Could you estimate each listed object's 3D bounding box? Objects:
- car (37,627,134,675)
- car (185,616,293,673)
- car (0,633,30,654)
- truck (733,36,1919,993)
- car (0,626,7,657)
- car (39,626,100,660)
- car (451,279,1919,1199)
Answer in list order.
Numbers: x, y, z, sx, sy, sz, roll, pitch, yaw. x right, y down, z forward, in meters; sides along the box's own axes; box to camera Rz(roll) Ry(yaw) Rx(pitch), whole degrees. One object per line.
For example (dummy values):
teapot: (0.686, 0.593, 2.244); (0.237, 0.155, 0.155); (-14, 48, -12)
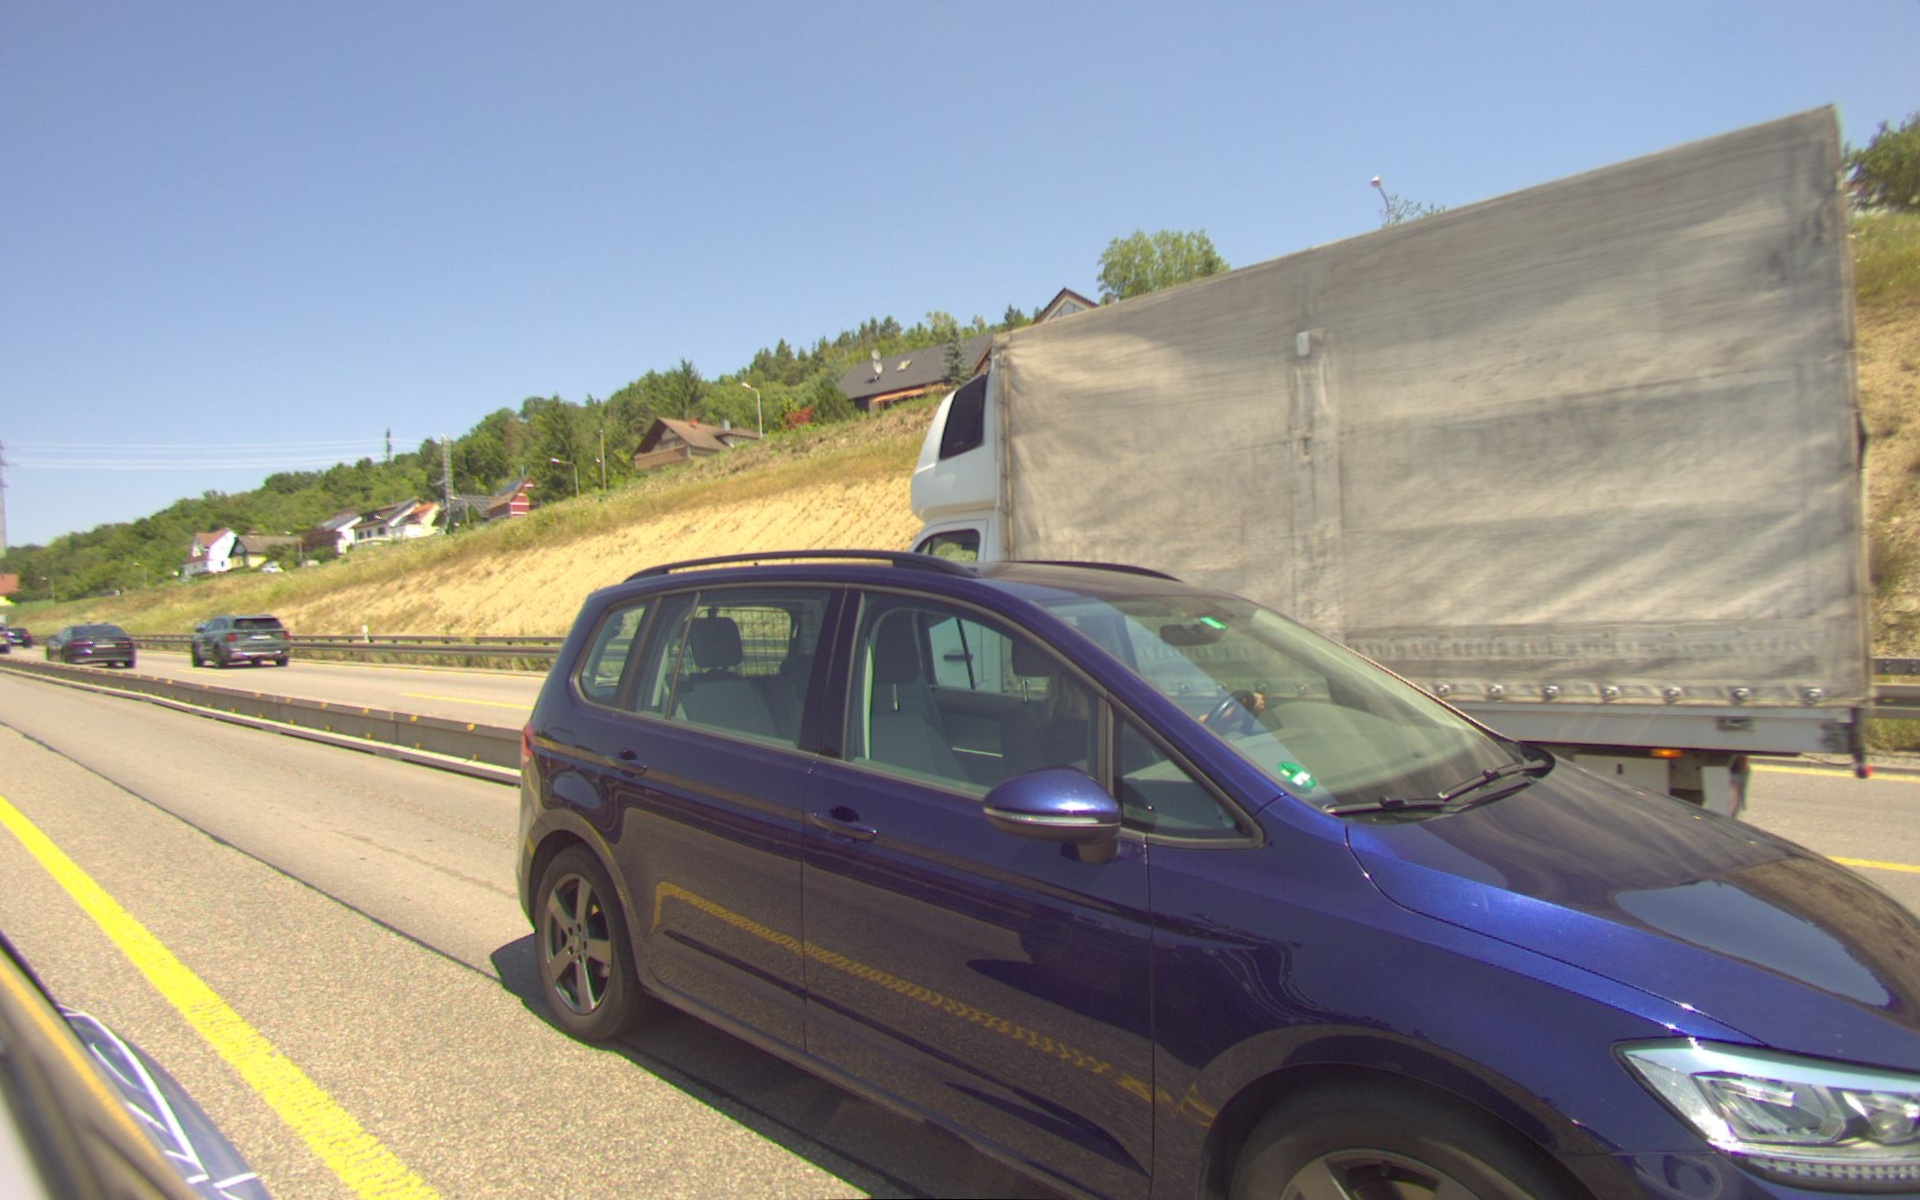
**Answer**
car: (-29.160, 1.658, 33.691); (4.947, 1.438, 1.778); (-2, -1, 41)
car: (-23.456, 1.415, 32.850); (4.666, 1.684, 1.835); (-2, -1, 41)
car: (-68.009, 3.133, 72.407); (4.240, 1.429, 1.692); (-2, -1, 41)
truck: (1.671, -0.232, 6.779); (7.034, 3.399, 2.512); (-2, -1, 41)
car: (-53.845, 2.315, 55.541); (4.686, 1.678, 1.826); (-2, -1, 41)
car: (-45.028, 2.142, 51.147); (5.123, 1.597, 1.667); (-2, -1, 41)
car: (0.379, 0.557, 3.007); (4.650, 1.731, 1.757); (-3, -2, 41)
